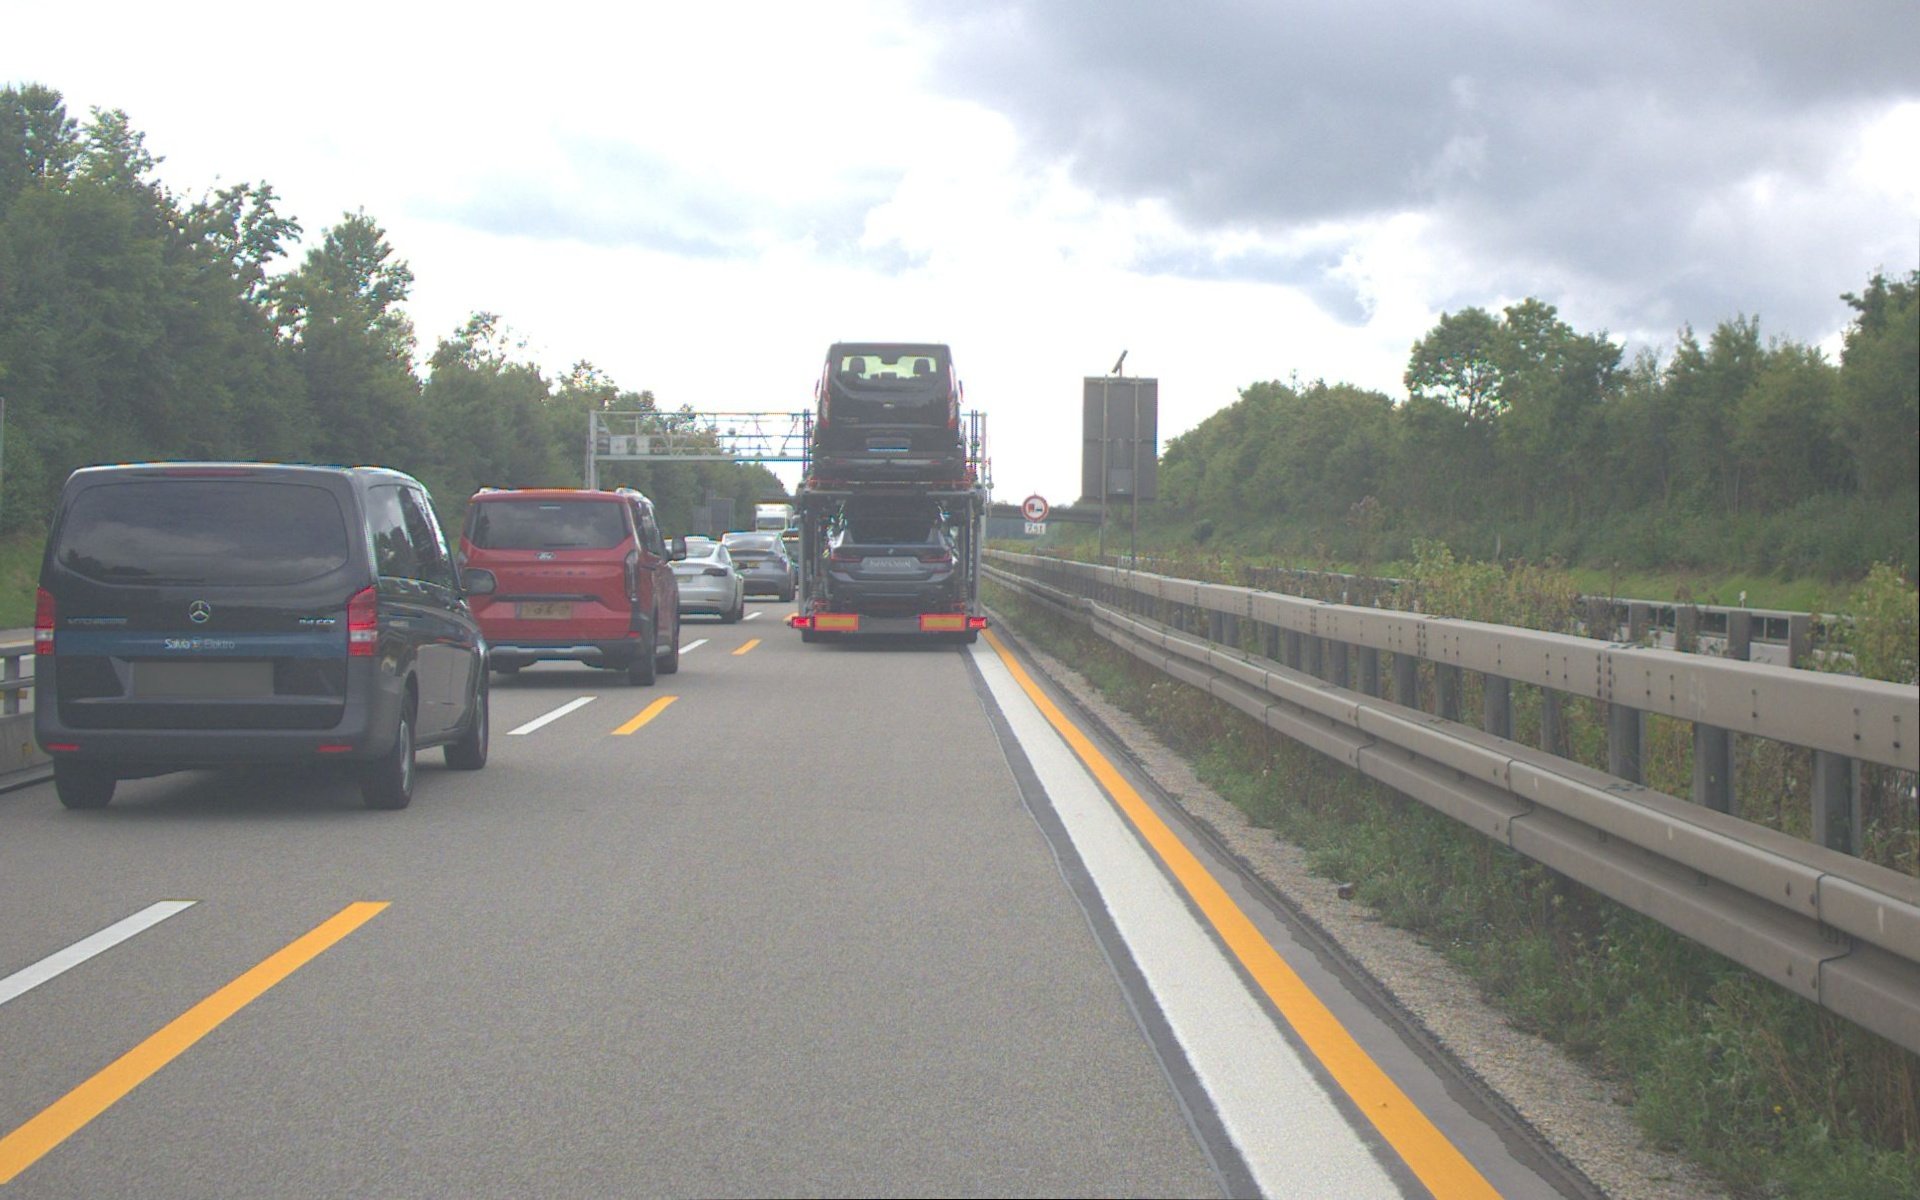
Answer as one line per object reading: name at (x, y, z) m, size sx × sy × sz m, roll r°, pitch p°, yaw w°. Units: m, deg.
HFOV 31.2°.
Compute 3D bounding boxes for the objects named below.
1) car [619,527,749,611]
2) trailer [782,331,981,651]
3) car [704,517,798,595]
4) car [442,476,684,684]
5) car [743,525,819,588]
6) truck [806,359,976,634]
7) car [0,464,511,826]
car at (-4.790, -0.569, 60.256) m, size 2.031 × 1.426 × 4.578 m, roll 0°, pitch 1°, yaw -1°
trailer at (-1.025, -1.501, 49.622) m, size 2.515 × 4.091 × 11.114 m, roll 0°, pitch 1°, yaw 0°
car at (-4.823, -1.038, 79.858) m, size 2.031 × 1.751 × 4.578 m, roll 0°, pitch 1°, yaw -1°
car at (-4.015, -0.237, 35.490) m, size 2.031 × 2.007 × 4.578 m, roll 0°, pitch 1°, yaw -1°
car at (-5.035, -1.244, 97.084) m, size 2.031 × 1.751 × 4.578 m, roll 0°, pitch 1°, yaw -2°
truck at (-1.049, -1.604, 54.292) m, size 2.515 × 4.091 × 5.685 m, roll 0°, pitch 1°, yaw 0°
car at (-3.975, 0.174, 20.271) m, size 1.993 × 1.836 × 5.610 m, roll 0°, pitch 1°, yaw -1°
